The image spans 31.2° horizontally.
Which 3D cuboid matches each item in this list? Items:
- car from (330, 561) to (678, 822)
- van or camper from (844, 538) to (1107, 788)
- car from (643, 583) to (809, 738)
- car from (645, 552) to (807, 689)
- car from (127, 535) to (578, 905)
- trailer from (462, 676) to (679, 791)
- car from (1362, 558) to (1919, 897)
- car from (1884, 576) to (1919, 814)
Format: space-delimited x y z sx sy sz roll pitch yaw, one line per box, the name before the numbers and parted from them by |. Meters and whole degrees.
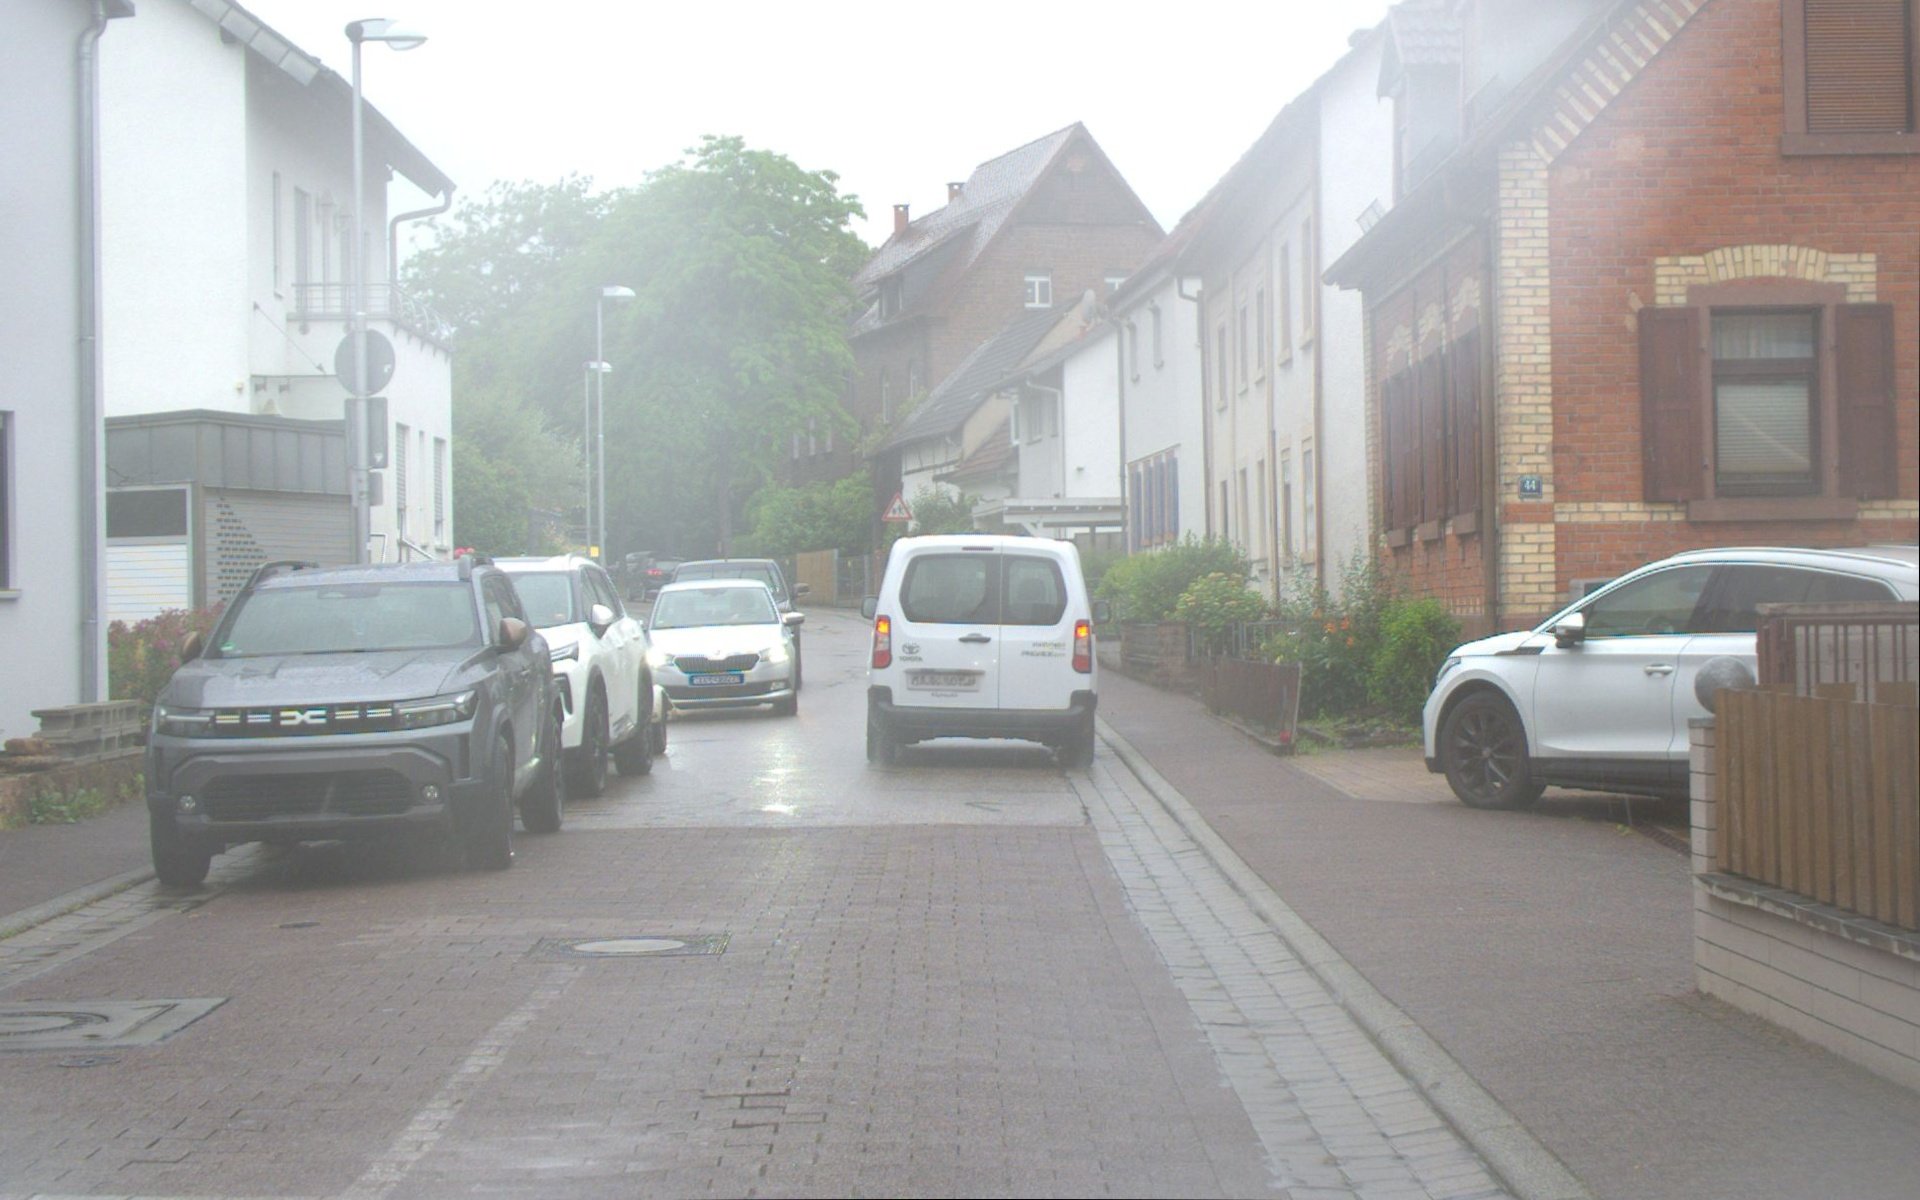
car | -3.191 0.619 24.885 1.748 1.631 4.418 -3 0 1
van or camper | 0.117 0.441 28.045 1.943 1.845 4.000 2 1 0
car | -2.593 0.690 37.564 1.688 1.559 3.934 -1 -2 -5
car | -3.085 0.228 45.598 1.993 1.672 4.784 -2 1 -3
car | -3.186 0.551 18.798 1.812 1.773 4.018 -1 1 -1
trailer | -3.196 1.087 28.598 1.483 0.826 2.676 -3 -1 0
car | 4.524 0.628 19.779 1.871 1.584 4.619 0 2 -32
car | 7.741 0.623 20.655 1.870 1.511 4.293 -1 1 -26
